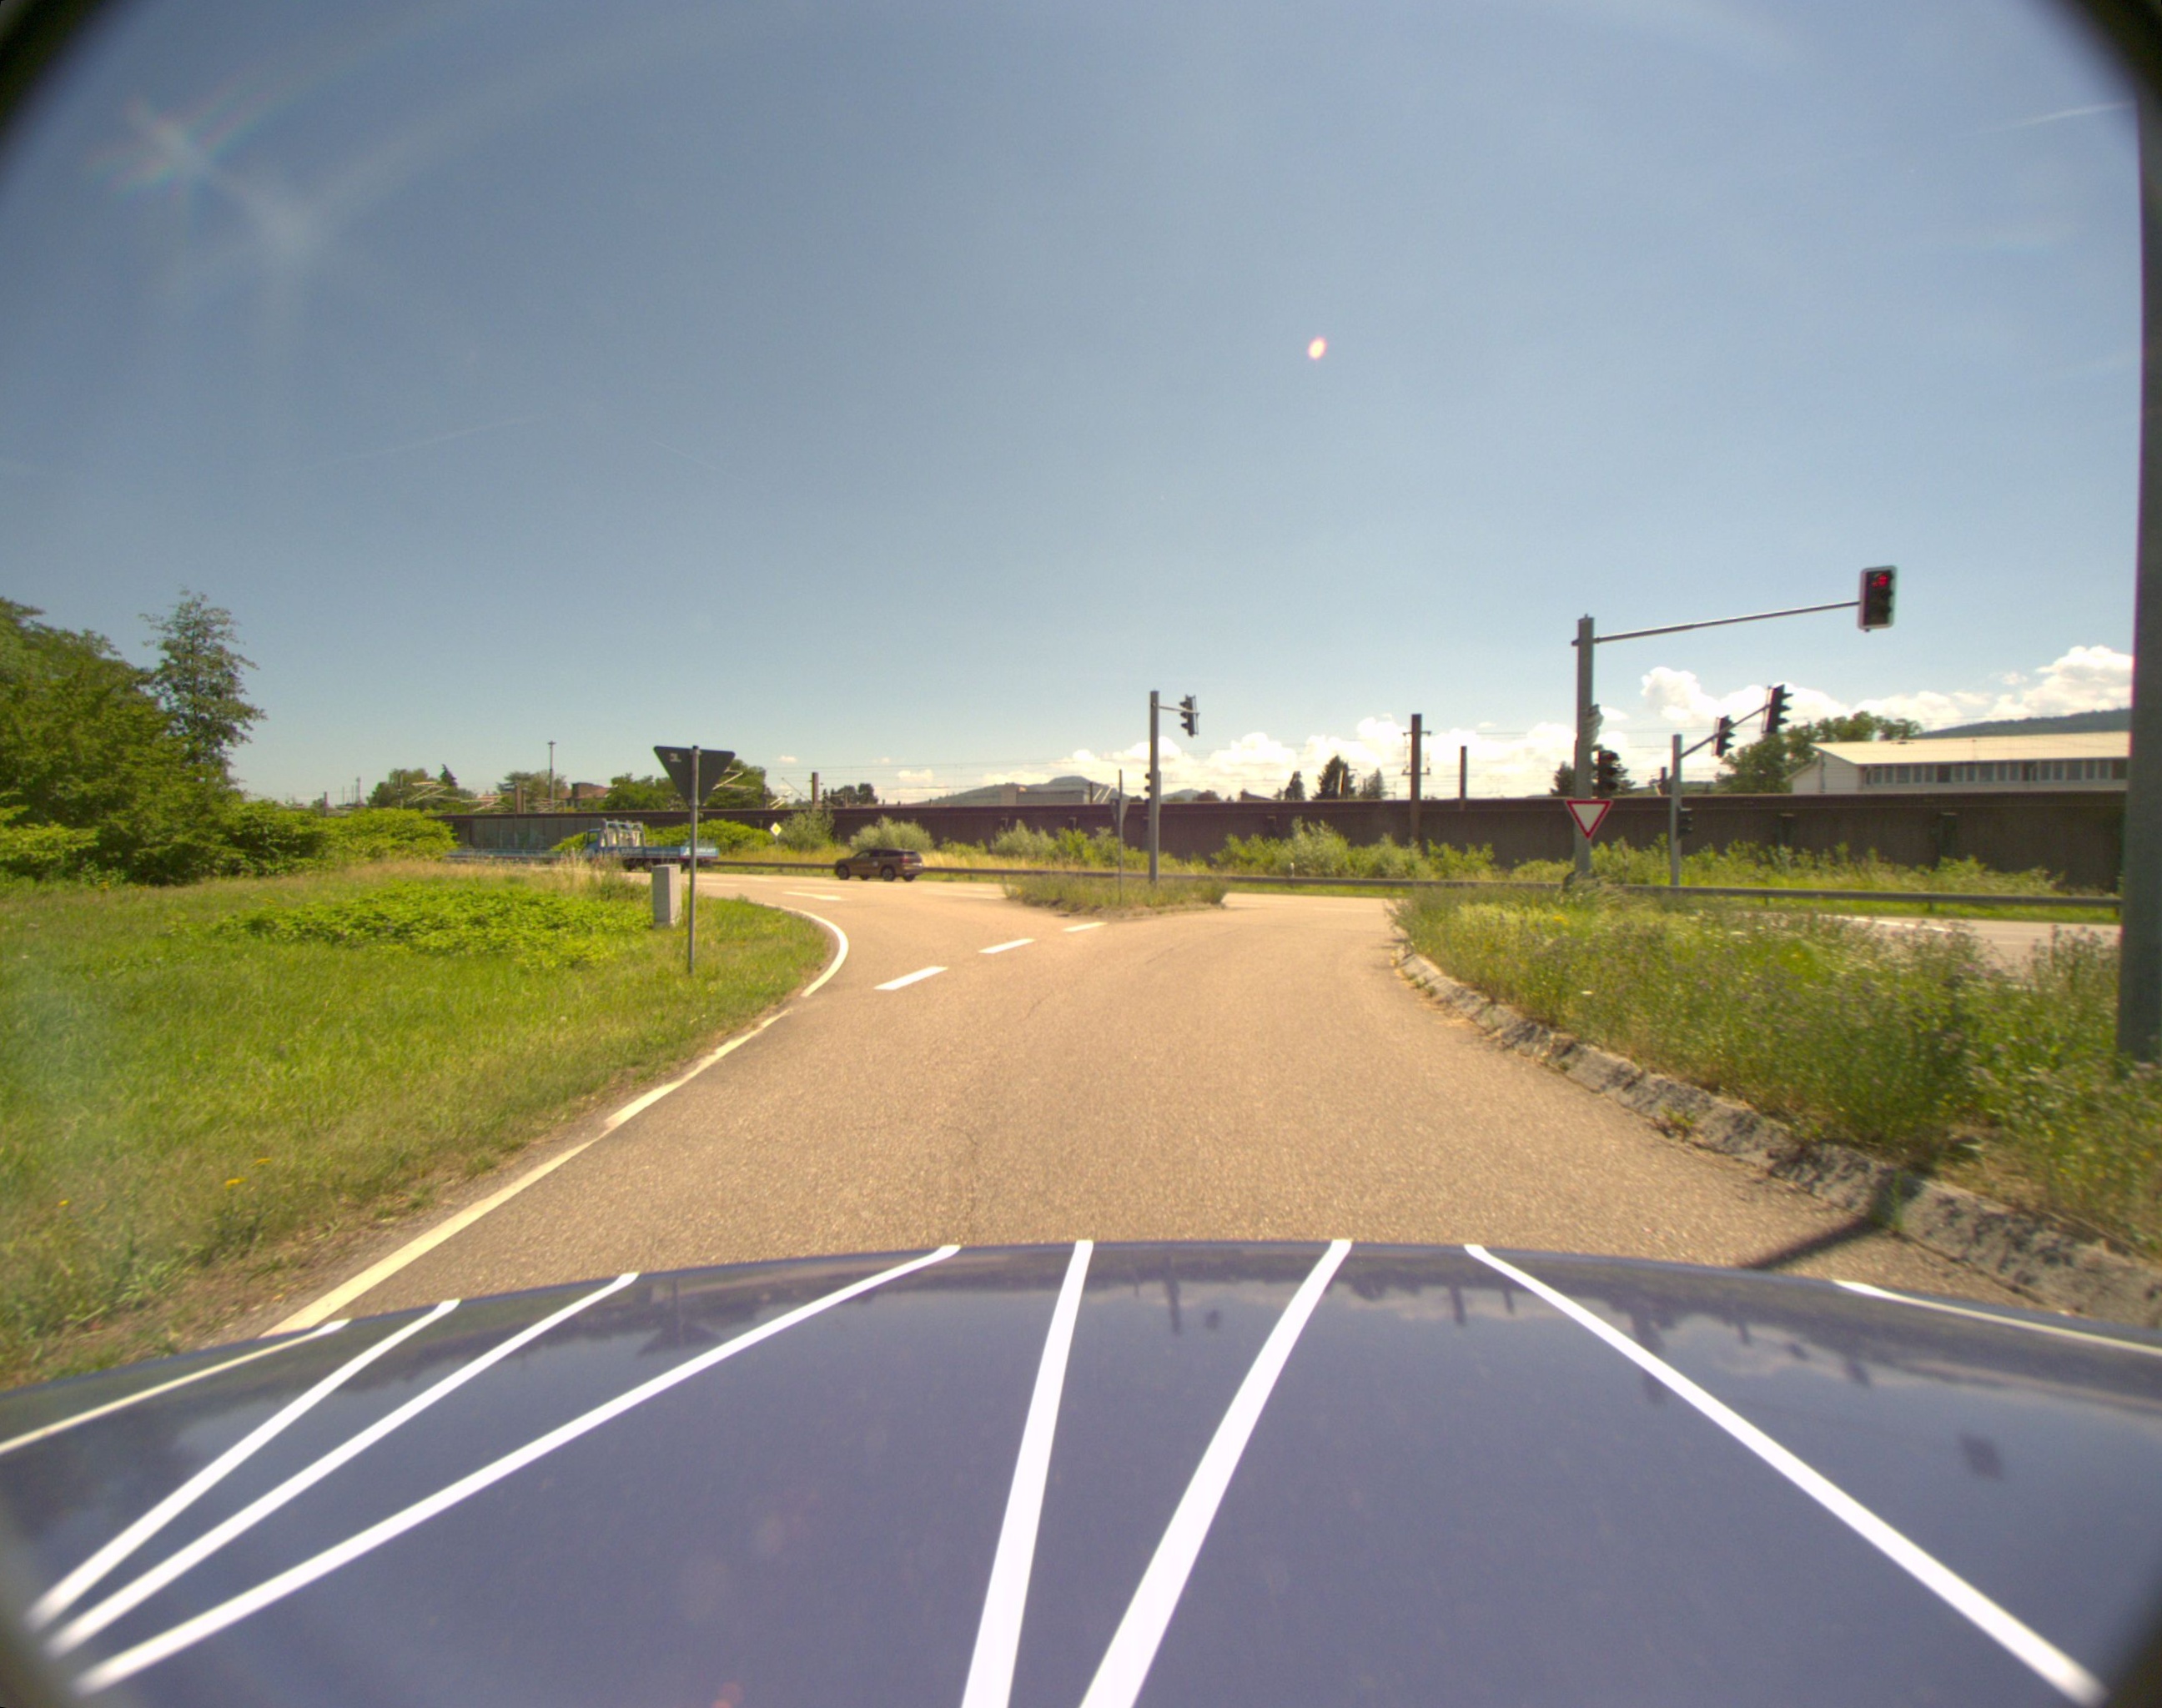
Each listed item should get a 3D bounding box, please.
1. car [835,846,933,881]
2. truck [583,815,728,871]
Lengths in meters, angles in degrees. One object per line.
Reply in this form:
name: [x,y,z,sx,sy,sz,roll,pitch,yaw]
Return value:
car: [-9.907,0.462,38.145,4.611,1.617,1.708,2,0,23]
truck: [-25.363,-0.674,45.222,8.602,3.131,2.928,1,0,25]
